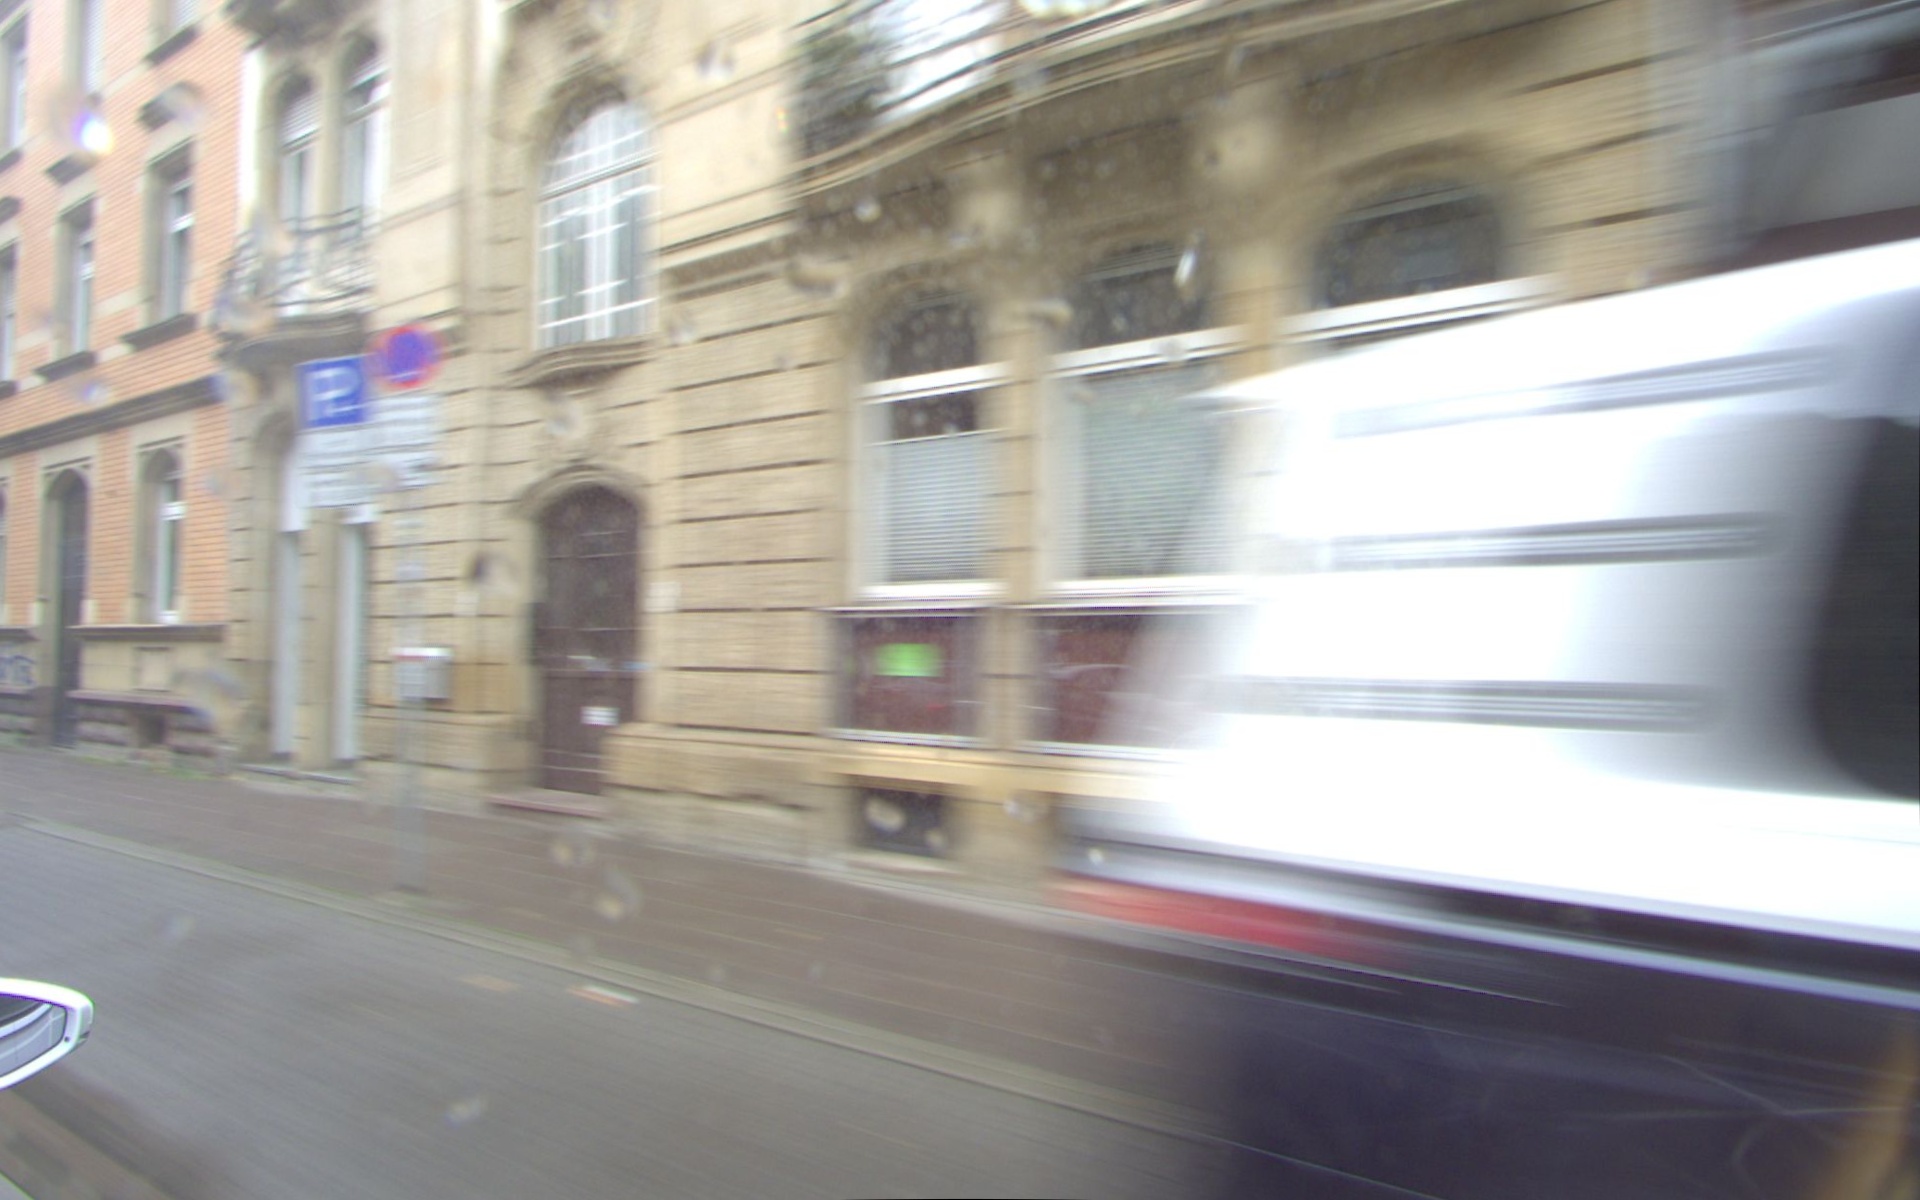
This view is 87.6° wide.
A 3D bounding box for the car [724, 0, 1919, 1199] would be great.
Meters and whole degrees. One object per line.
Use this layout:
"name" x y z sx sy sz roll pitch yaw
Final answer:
"car" 2.436 0.519 0.853 5.150 1.964 1.992 -1 -1 29
